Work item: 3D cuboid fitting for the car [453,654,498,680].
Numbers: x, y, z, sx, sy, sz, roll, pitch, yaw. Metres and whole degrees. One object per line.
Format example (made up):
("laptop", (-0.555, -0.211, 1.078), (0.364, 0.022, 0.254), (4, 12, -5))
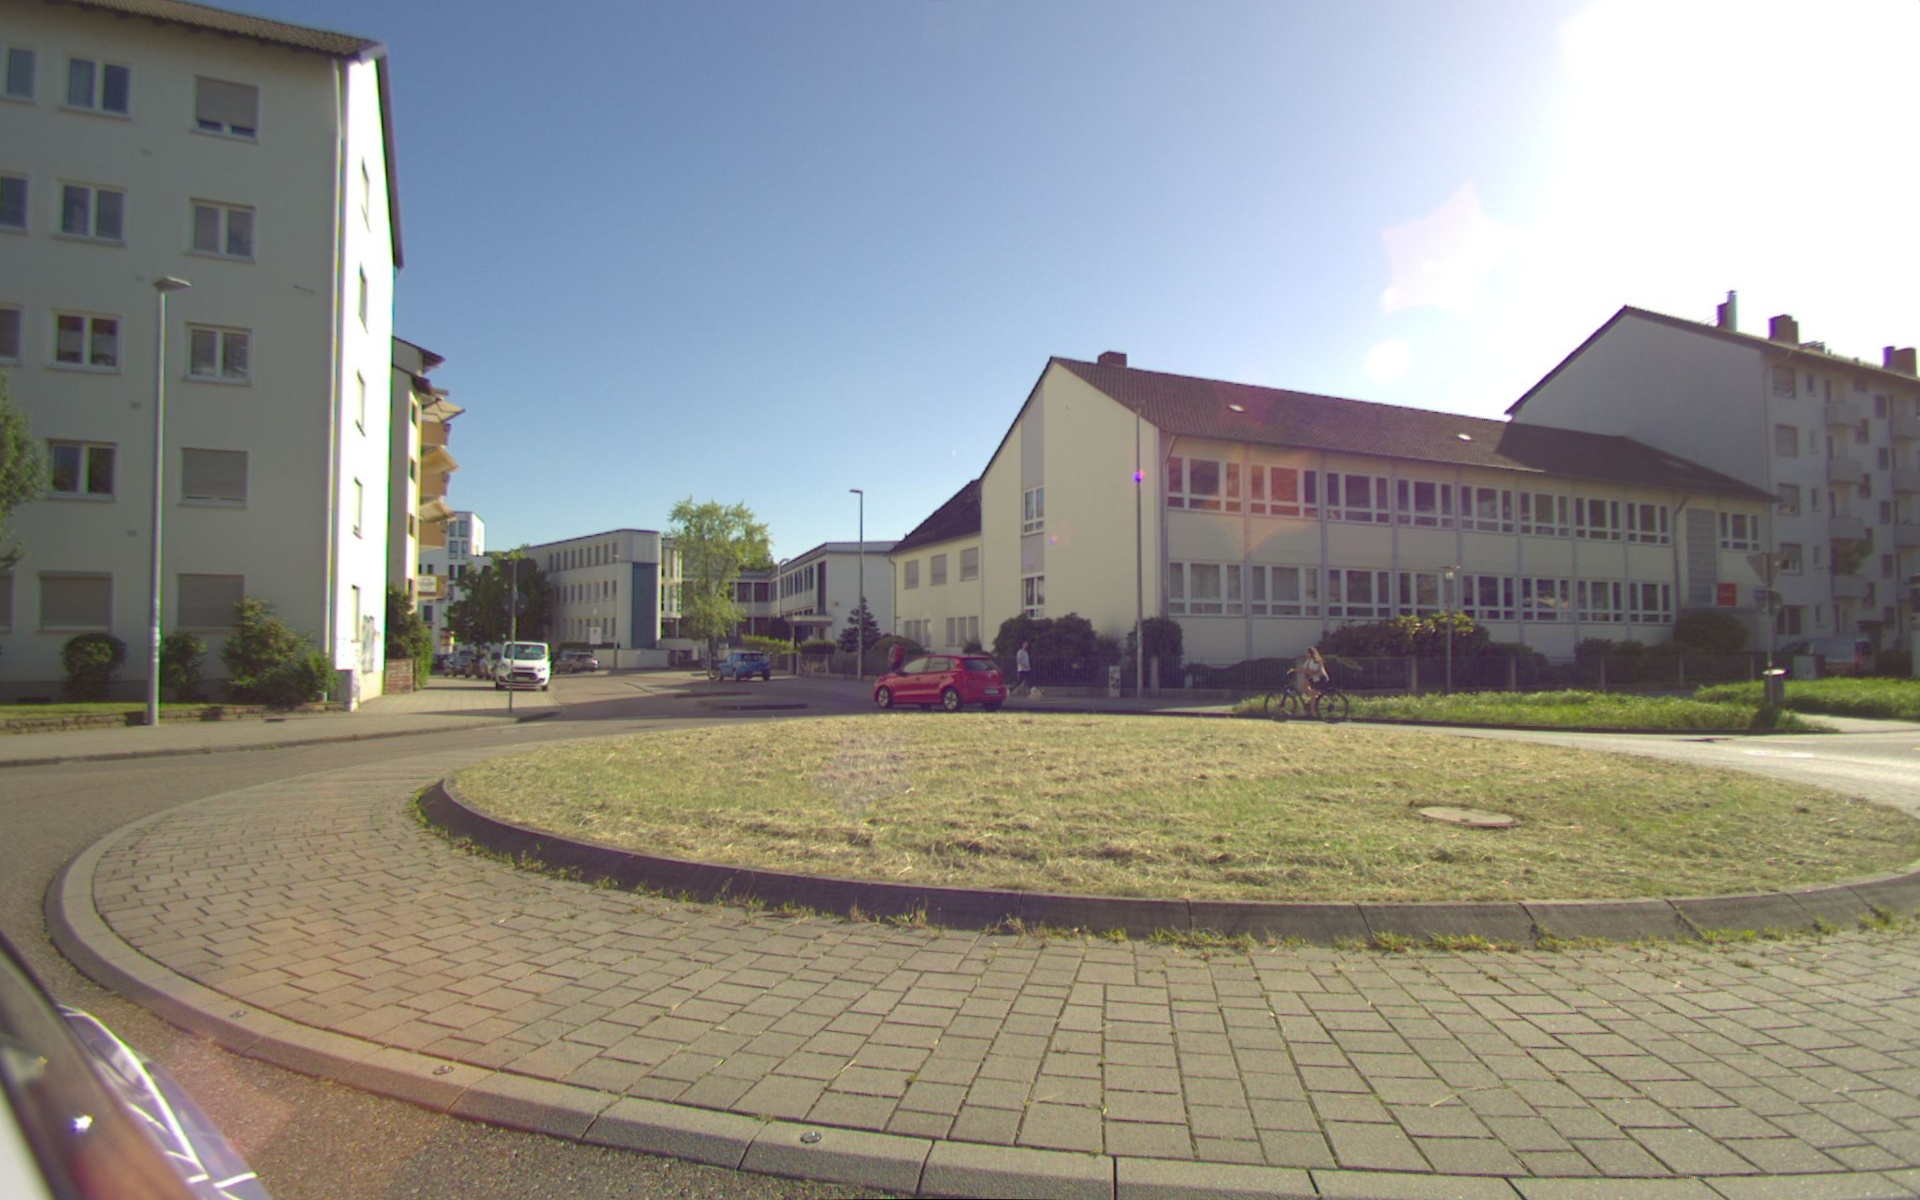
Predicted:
("car", (-30.755, 4.225, 64.165), (1.730, 1.465, 4.008), (7, -6, -37))

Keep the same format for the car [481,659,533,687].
("car", (-24.467, 3.921, 54.567), (1.729, 1.405, 4.010), (6, -6, -34))

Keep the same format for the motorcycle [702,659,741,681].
("motorcycle", (-12.522, 3.670, 53.154), (1.936, 1.103, 0.590), (-2, -3, -1))

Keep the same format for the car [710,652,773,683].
("car", (-10.957, 3.352, 50.513), (1.853, 1.445, 4.427), (0, -3, -30))

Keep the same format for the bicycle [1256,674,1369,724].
("bicycle", (7.609, 2.149, 21.968), (2.187, 1.022, 0.808), (-2, -3, 12))

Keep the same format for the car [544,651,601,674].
("car", (-28.487, 4.580, 74.319), (4.837, 1.626, 2.108), (-3, -3, 45))

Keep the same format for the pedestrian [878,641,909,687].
("pedestrian", (-2.517, 2.429, 38.422), (0.805, 1.719, 1.000), (0, -3, -28))

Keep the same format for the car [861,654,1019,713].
("car", (-0.566, 2.109, 26.009), (3.999, 1.393, 1.693), (-3, -6, 42))

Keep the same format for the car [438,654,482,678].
("car", (-33.510, 4.427, 67.740), (1.730, 1.465, 4.008), (7, -6, -38))

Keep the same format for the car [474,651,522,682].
("car", (-26.680, 3.809, 58.352), (1.729, 1.655, 4.010), (6, -6, -34))

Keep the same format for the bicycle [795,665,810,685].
("bicycle", (-8.171, 3.888, 52.521), (0.340, 1.023, 1.267), (2, -4, -29))

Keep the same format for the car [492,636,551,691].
("car", (-17.967, 2.615, 41.620), (1.965, 2.029, 4.812), (4, -5, -22))

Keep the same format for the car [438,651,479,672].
("car", (-46.240, 5.654, 93.260), (2.107, 1.824, 4.839), (0, -3, -44))

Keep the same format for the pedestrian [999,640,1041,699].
("pedestrian", (1.777, 2.049, 30.123), (0.996, 1.719, 0.683), (-3, -3, 38))

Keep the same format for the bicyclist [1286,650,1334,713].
("bicyclist", (7.590, 1.764, 21.980), (0.817, 1.322, 0.808), (-2, -3, 11))
